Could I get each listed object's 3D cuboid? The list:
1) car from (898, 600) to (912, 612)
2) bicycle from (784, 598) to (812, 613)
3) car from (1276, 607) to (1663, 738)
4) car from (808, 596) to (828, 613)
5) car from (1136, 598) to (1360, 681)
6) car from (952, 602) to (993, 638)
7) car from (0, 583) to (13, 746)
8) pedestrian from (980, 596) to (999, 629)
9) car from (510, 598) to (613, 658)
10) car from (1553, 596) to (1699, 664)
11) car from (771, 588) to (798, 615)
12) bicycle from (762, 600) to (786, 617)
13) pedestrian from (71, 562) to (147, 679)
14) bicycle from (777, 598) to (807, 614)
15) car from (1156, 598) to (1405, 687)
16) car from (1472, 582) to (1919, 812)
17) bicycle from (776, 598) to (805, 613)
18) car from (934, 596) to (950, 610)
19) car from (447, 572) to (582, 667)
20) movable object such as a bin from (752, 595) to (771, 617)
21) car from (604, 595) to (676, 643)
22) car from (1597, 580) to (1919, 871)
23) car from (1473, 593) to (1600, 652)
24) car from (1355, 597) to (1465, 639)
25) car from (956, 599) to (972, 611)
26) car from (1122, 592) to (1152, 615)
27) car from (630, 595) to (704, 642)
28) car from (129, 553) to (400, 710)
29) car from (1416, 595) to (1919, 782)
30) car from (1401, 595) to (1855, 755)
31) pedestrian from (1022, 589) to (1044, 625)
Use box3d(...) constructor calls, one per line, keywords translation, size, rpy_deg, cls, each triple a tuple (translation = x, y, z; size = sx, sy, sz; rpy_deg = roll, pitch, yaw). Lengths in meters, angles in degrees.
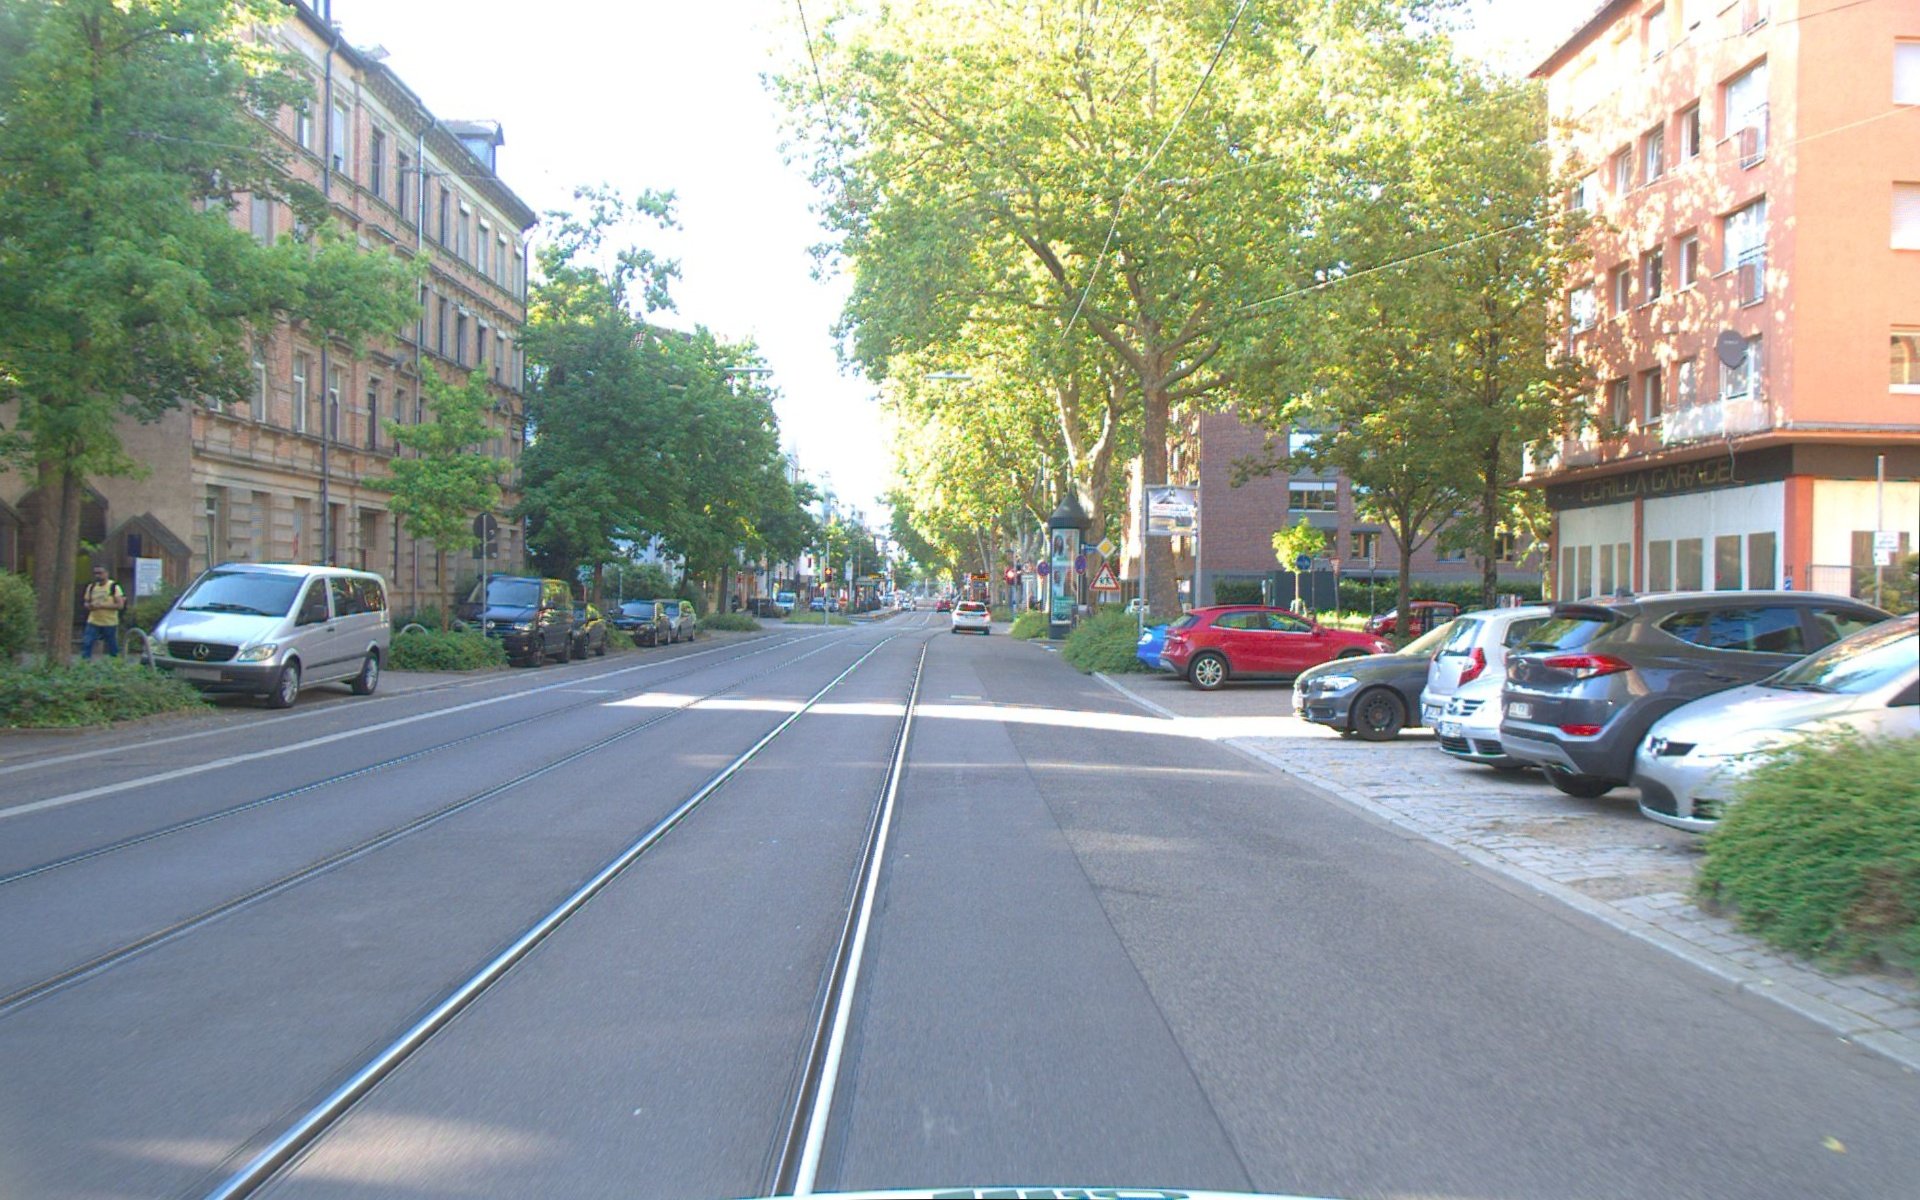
box3d(translation=(-6.917, 0.792, 206.995), size=(1.659, 1.444, 3.999), rpy_deg=(0, 0, -1), cls="car")
box3d(translation=(-13.581, 0.473, 138.992), size=(2.207, 1.092, 0.636), rpy_deg=(4, 0, 0), cls="bicycle")
box3d(translation=(6.070, 0.841, 20.025), size=(4.115, 1.473, 1.817), rpy_deg=(0, 0, -1), cls="car")
box3d(translation=(-13.413, 0.407, 156.173), size=(1.561, 1.575, 3.999), rpy_deg=(3, 0, -1), cls="car")
box3d(translation=(5.697, 0.765, 33.184), size=(4.310, 1.570, 1.819), rpy_deg=(0, 0, 6), cls="car")
box3d(translation=(0.543, 0.874, 74.621), size=(1.752, 1.540, 3.999), rpy_deg=(0, 0, -1), cls="car")
box3d(translation=(-9.977, 0.618, 14.179), size=(1.651, 1.566, 3.706), rpy_deg=(0, 0, -2), cls="car")
box3d(translation=(1.653, 0.711, 92.086), size=(0.975, 1.843, 0.863), rpy_deg=(0, 0, -6), cls="pedestrian")
box3d(translation=(-10.401, 0.704, 43.470), size=(1.815, 1.484, 4.268), rpy_deg=(0, 0, -2), cls="car")
box3d(translation=(15.042, 0.644, 37.571), size=(1.713, 1.460, 3.949), rpy_deg=(0, 0, -1), cls="car")
box3d(translation=(-13.137, 0.093, 124.258), size=(1.654, 1.974, 3.999), rpy_deg=(0, 0, -1), cls="car")
box3d(translation=(-12.709, 0.593, 112.939), size=(1.503, 1.093, 0.885), rpy_deg=(4, 0, -2), cls="bicycle")
box3d(translation=(-12.633, 0.297, 24.574), size=(0.592, 1.691, 0.947), rpy_deg=(2, 0, 0), cls="pedestrian")
box3d(translation=(-13.391, 0.471, 131.721), size=(2.207, 1.092, 0.636), rpy_deg=(4, 0, 0), cls="bicycle")
box3d(translation=(5.913, 0.765, 30.904), size=(4.312, 1.570, 1.952), rpy_deg=(0, 0, 1), cls="car")
box3d(translation=(6.359, 0.703, 12.917), size=(4.117, 1.647, 1.877), rpy_deg=(0, 0, -4), cls="car")
box3d(translation=(-13.665, 0.431, 133.440), size=(2.207, 1.092, 0.636), rpy_deg=(4, 0, 0), cls="bicycle")
box3d(translation=(-2.027, 0.331, 182.868), size=(1.752, 1.540, 3.999), rpy_deg=(0, 0, -1), cls="car")
box3d(translation=(-10.219, 0.416, 38.305), size=(1.953, 2.049, 4.832), rpy_deg=(0, 0, -2), cls="car")
box3d(translation=(-13.309, 0.409, 110.856), size=(1.147, 1.372, 0.782), rpy_deg=(4, 0, -5), cls="movable object such as a bin")
box3d(translation=(-10.346, 0.593, 53.682), size=(1.624, 1.470, 3.948), rpy_deg=(1, 0, -1), cls="car")
box3d(translation=(6.368, 0.721, 10.301), size=(4.113, 1.647, 1.818), rpy_deg=(0, 0, 1), cls="car")
box3d(translation=(14.847, 0.547, 42.855), size=(1.713, 1.460, 4.467), rpy_deg=(0, 0, -1), cls="car")
box3d(translation=(16.110, 0.618, 59.269), size=(3.467, 1.477, 1.683), rpy_deg=(0, 0, -3), cls="car")
box3d(translation=(0.523, 0.673, 210.638), size=(1.953, 1.478, 3.999), rpy_deg=(0, 0, -1), cls="car")
box3d(translation=(12.009, 0.210, 112.451), size=(1.568, 1.521, 3.415), rpy_deg=(0, 0, -2), cls="car")
box3d(translation=(-10.432, 0.642, 59.245), size=(1.664, 1.577, 4.537), rpy_deg=(1, 0, 2), cls="car")
box3d(translation=(-9.864, 0.406, 23.954), size=(1.806, 2.023, 4.988), rpy_deg=(0, 0, 0), cls="car")
box3d(translation=(6.525, 0.769, 15.320), size=(4.113, 1.601, 1.818), rpy_deg=(0, 0, 1), cls="car")
box3d(translation=(6.990, 0.753, 17.623), size=(4.113, 1.583, 1.818), rpy_deg=(0, 0, 1), cls="car")
box3d(translation=(3.942, 0.378, 89.001), size=(0.964, 1.896, 1.015), rpy_deg=(-3, 0, -6), cls="pedestrian")
